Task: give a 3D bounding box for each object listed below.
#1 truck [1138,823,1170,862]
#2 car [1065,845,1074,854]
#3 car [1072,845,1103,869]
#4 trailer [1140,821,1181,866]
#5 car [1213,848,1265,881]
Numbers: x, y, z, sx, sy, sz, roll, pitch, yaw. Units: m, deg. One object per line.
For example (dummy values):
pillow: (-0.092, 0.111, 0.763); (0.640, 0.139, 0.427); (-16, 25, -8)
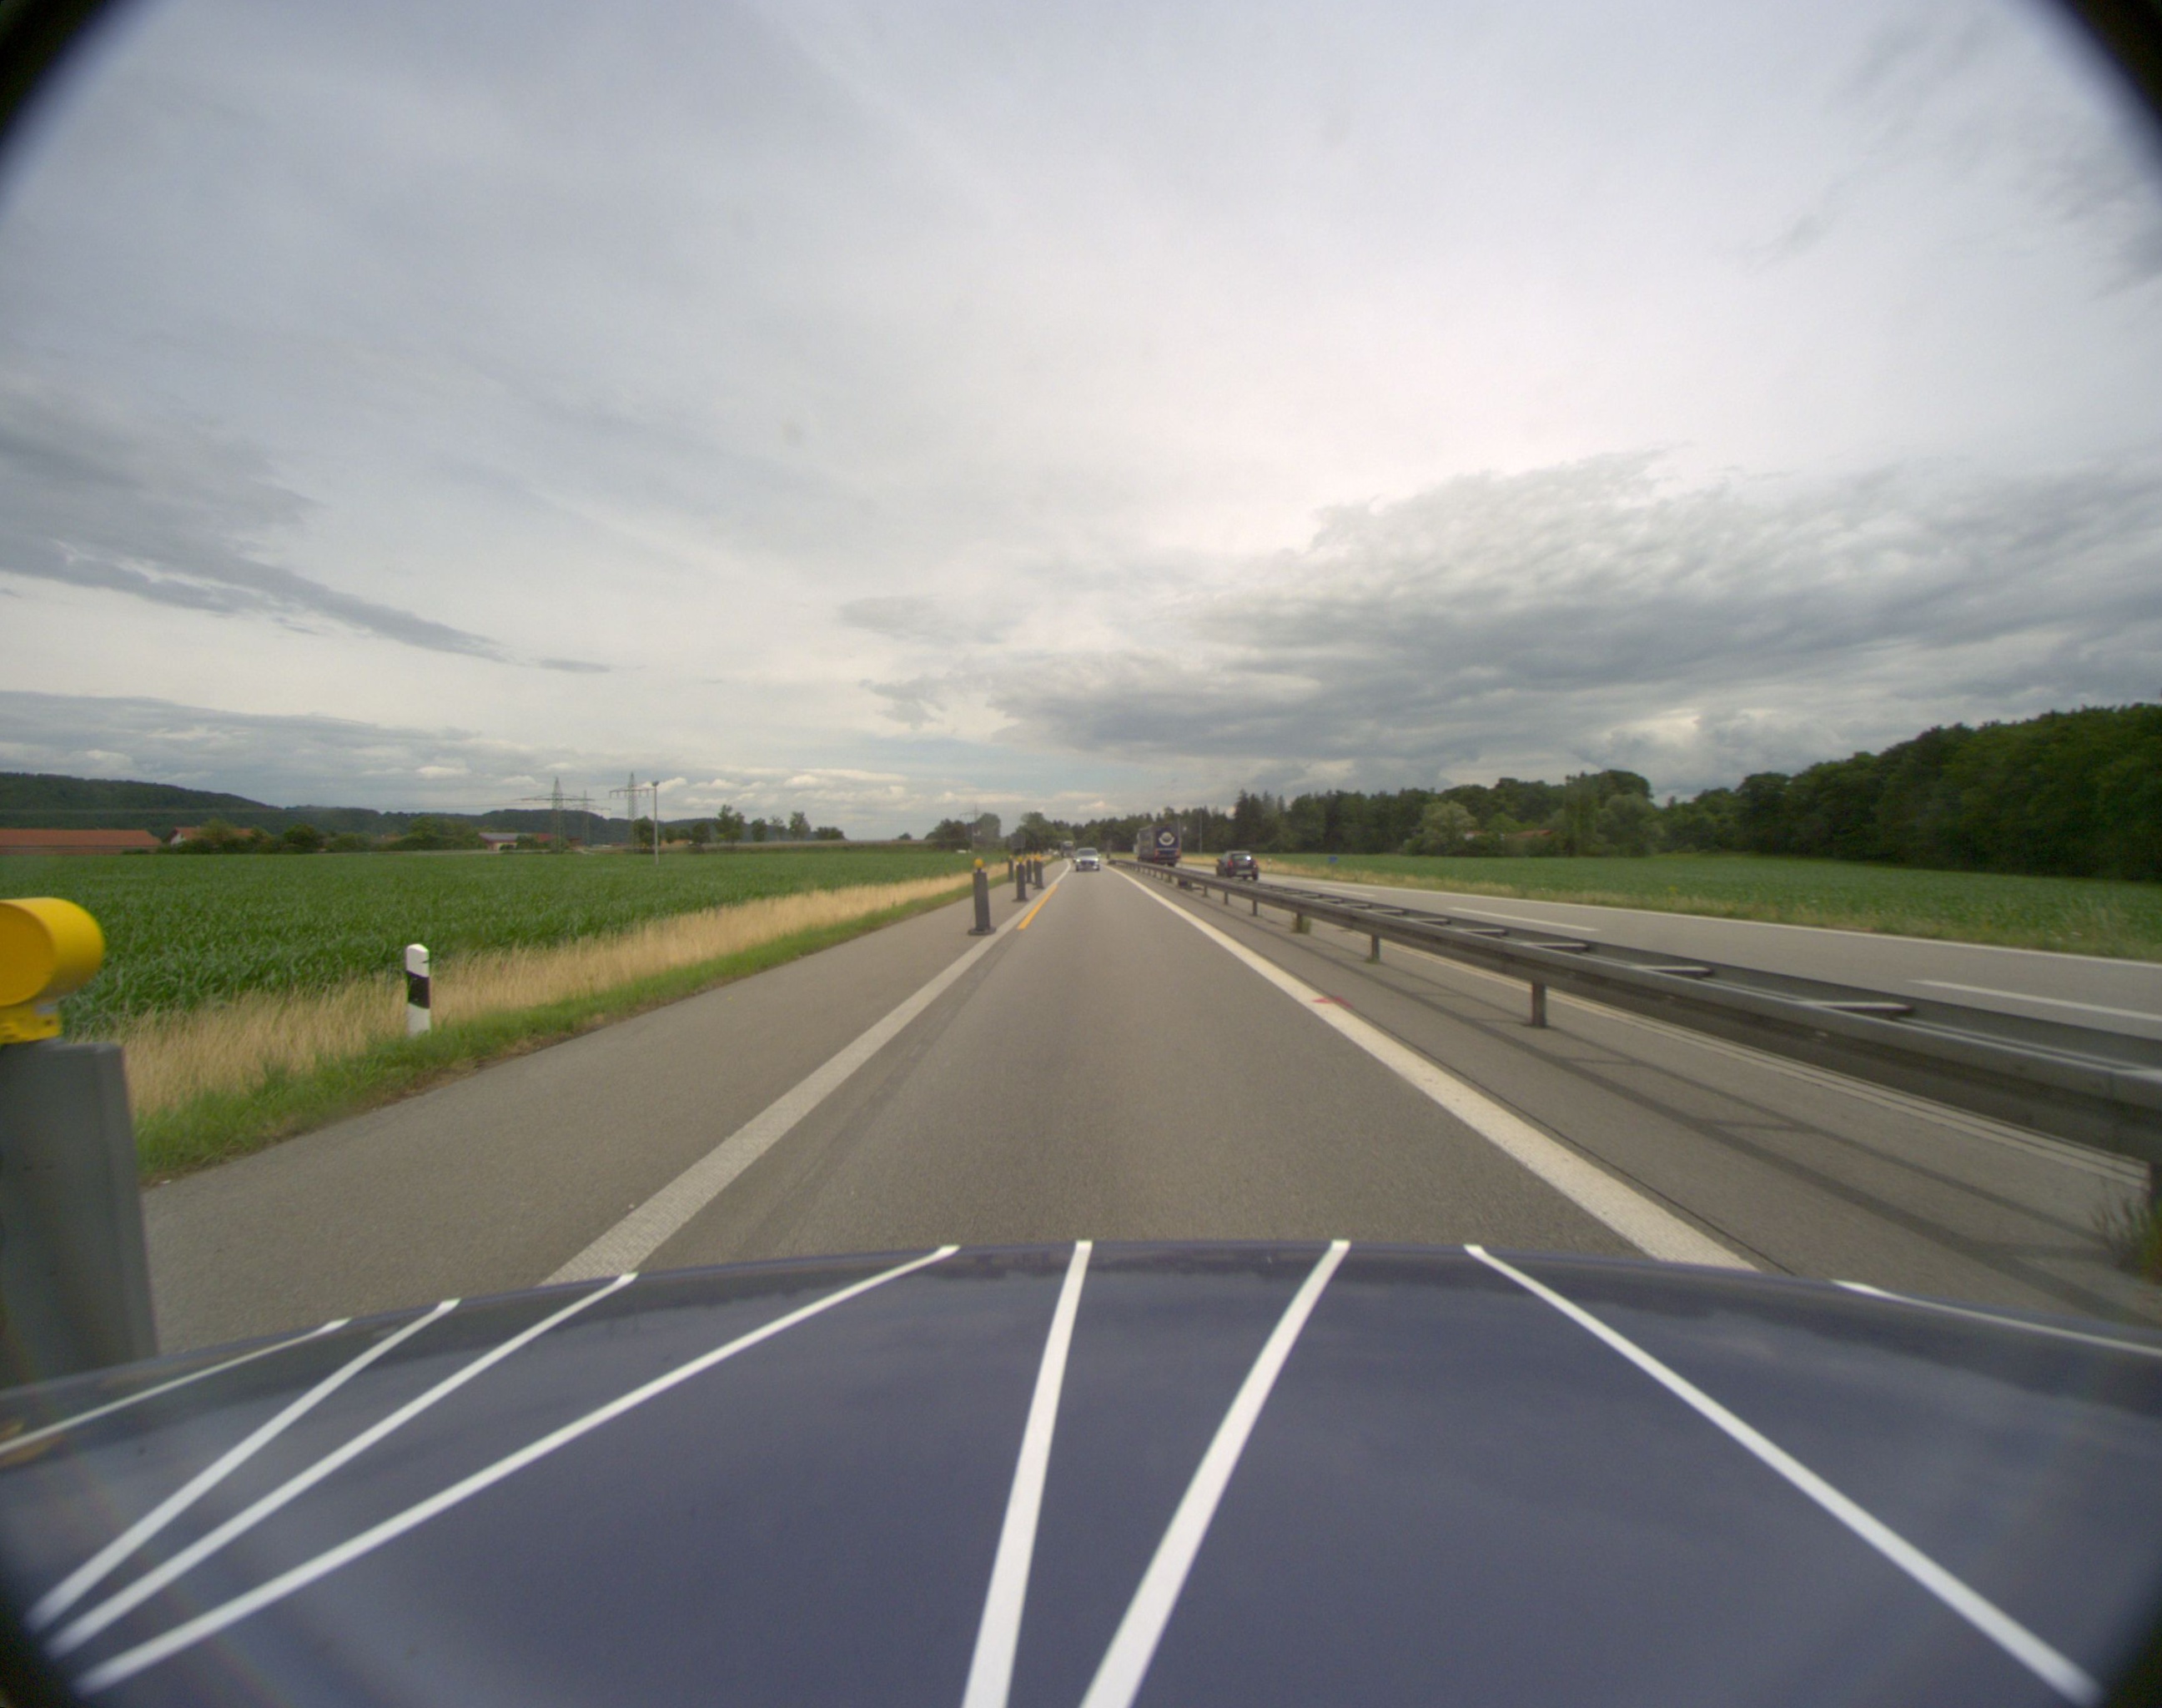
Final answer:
truck: (8.107, -1.307, 85.491); (2.806, 4.118, 7.227); (-2, 1, 1)
car: (-2.833, -1.164, 190.915); (1.998, 2.002, 3.999); (-2, 1, 2)
car: (0.484, 0.223, 62.090); (1.924, 1.823, 3.996); (-2, 1, -7)
trailer: (8.044, -1.147, 78.361); (2.806, 4.149, 13.561); (-2, 1, 1)
car: (8.830, 0.547, 42.816); (1.998, 1.674, 4.232); (-2, 1, 0)
